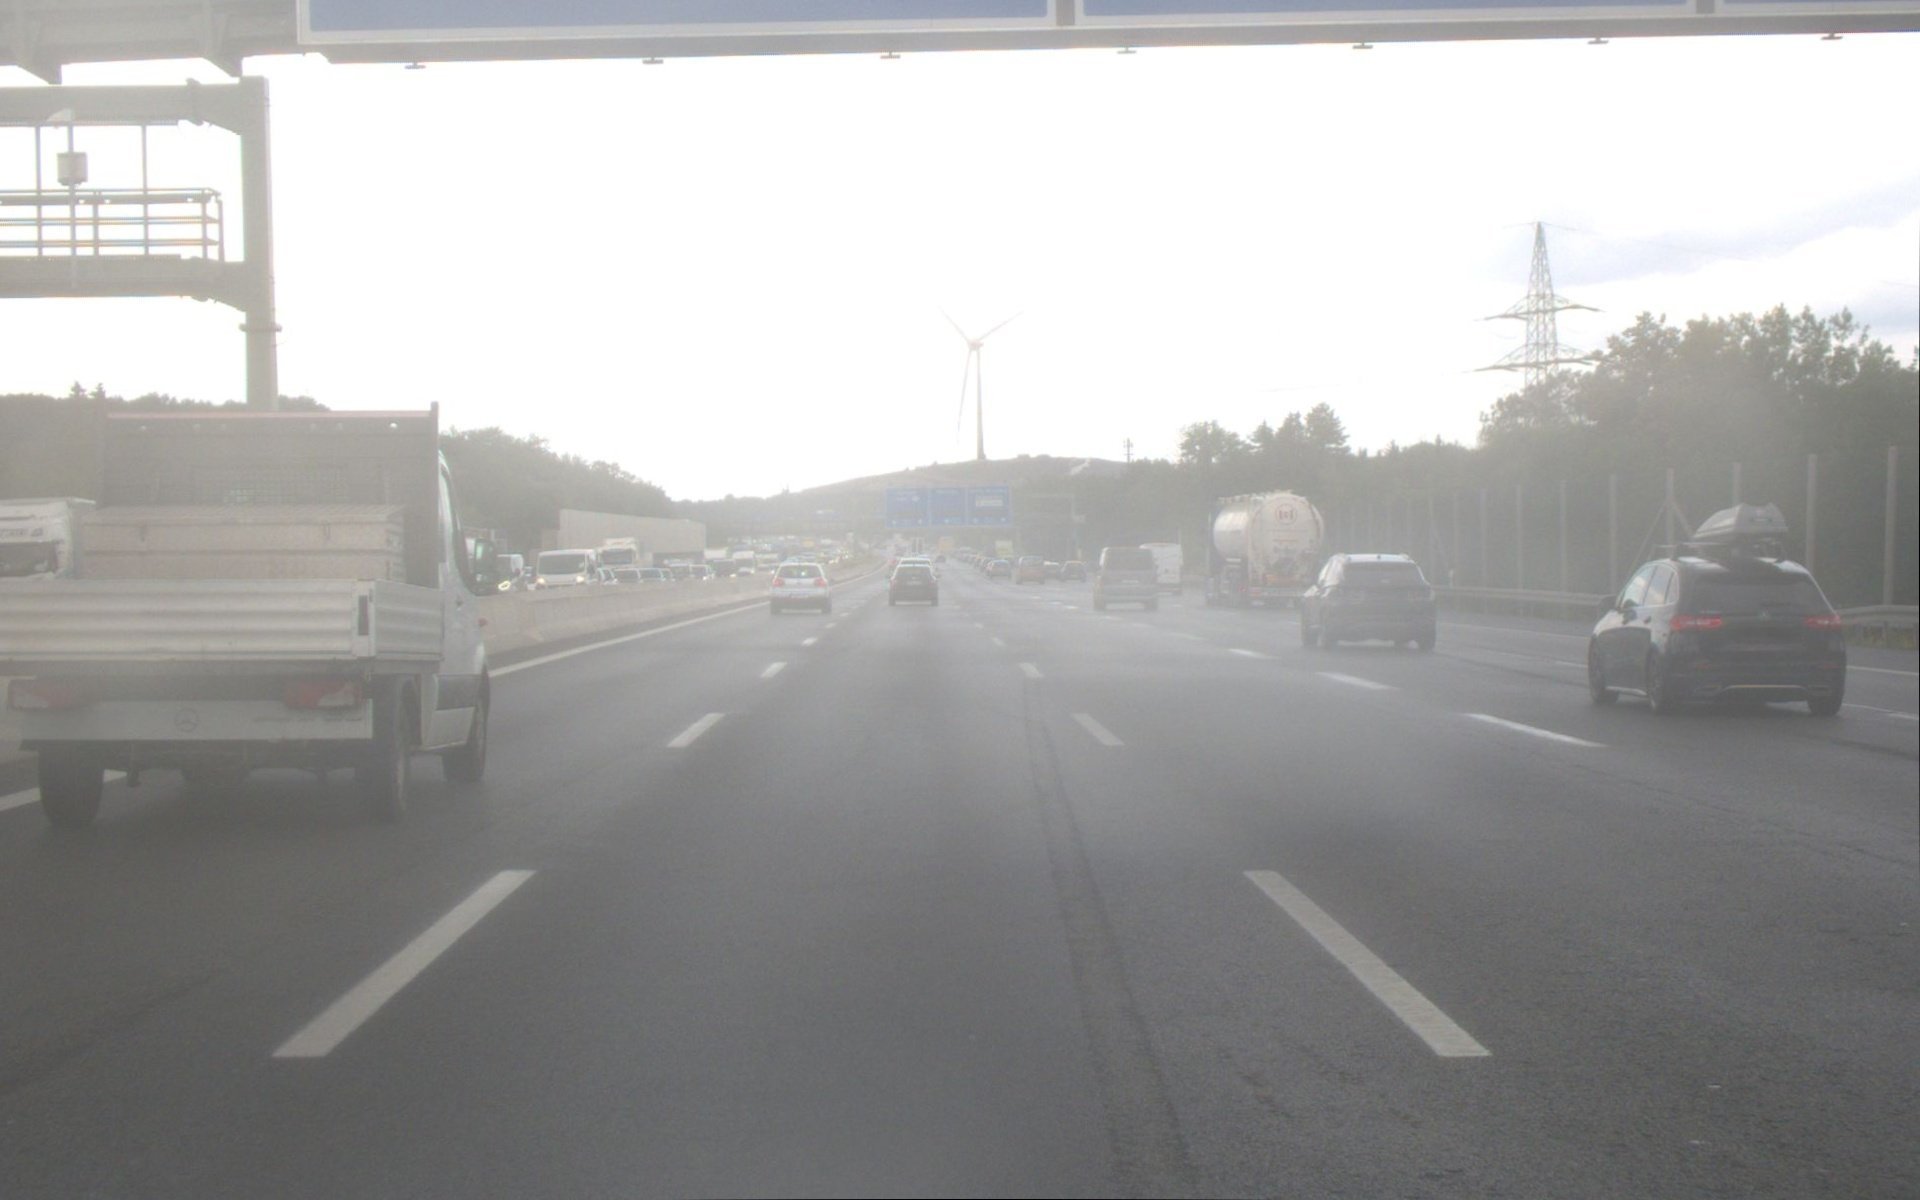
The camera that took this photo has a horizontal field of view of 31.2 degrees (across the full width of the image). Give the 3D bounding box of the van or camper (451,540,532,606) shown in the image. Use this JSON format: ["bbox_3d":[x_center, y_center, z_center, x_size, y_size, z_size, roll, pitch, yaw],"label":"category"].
[{"bbox_3d":[-15.660,-0.927,115.053,2.095,2.178,4.971,0,1,-1],"label":"van or camper"}]

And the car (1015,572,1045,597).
[{"bbox_3d":[5.007,-1.115,246.339,2.045,1.693,4.000,0,1,0],"label":"car"}]

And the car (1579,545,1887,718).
[{"bbox_3d":[7.610,0.285,34.348,2.105,1.600,5.065,0,0,2],"label":"car"}]

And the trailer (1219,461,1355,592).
[{"bbox_3d":[10.935,-2.444,116.197,3.332,4.161,11.839,0,1,-1],"label":"trailer"}]

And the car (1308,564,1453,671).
[{"bbox_3d":[7.103,0.257,58.488,2.045,1.693,5.007,0,1,2],"label":"car"}]

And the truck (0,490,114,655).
[{"bbox_3d":[-28.136,-0.871,104.456,3.146,4.840,8.028,0,1,-2],"label":"truck"}]

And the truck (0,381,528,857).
[{"bbox_3d":[-4.182,0.029,21.129,2.353,2.400,7.359,1,1,-2],"label":"truck"}]

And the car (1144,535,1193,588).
[{"bbox_3d":[9.933,-1.867,164.236,2.045,2.489,4.000,0,1,-1],"label":"car"}]

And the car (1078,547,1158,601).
[{"bbox_3d":[5.018,-0.840,109.360,2.097,1.693,4.001,0,1,-4],"label":"car"}]

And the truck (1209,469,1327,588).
[{"bbox_3d":[10.873,-2.512,122.163,3.333,4.066,8.272,1,1,-1],"label":"truck"}]

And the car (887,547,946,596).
[{"bbox_3d":[-1.561,-1.020,122.738,2.045,1.693,4.000,0,1,-1],"label":"car"}]

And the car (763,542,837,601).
[{"bbox_3d":[-4.697,-0.846,101.144,2.045,1.693,4.000,0,1,-1],"label":"car"}]
